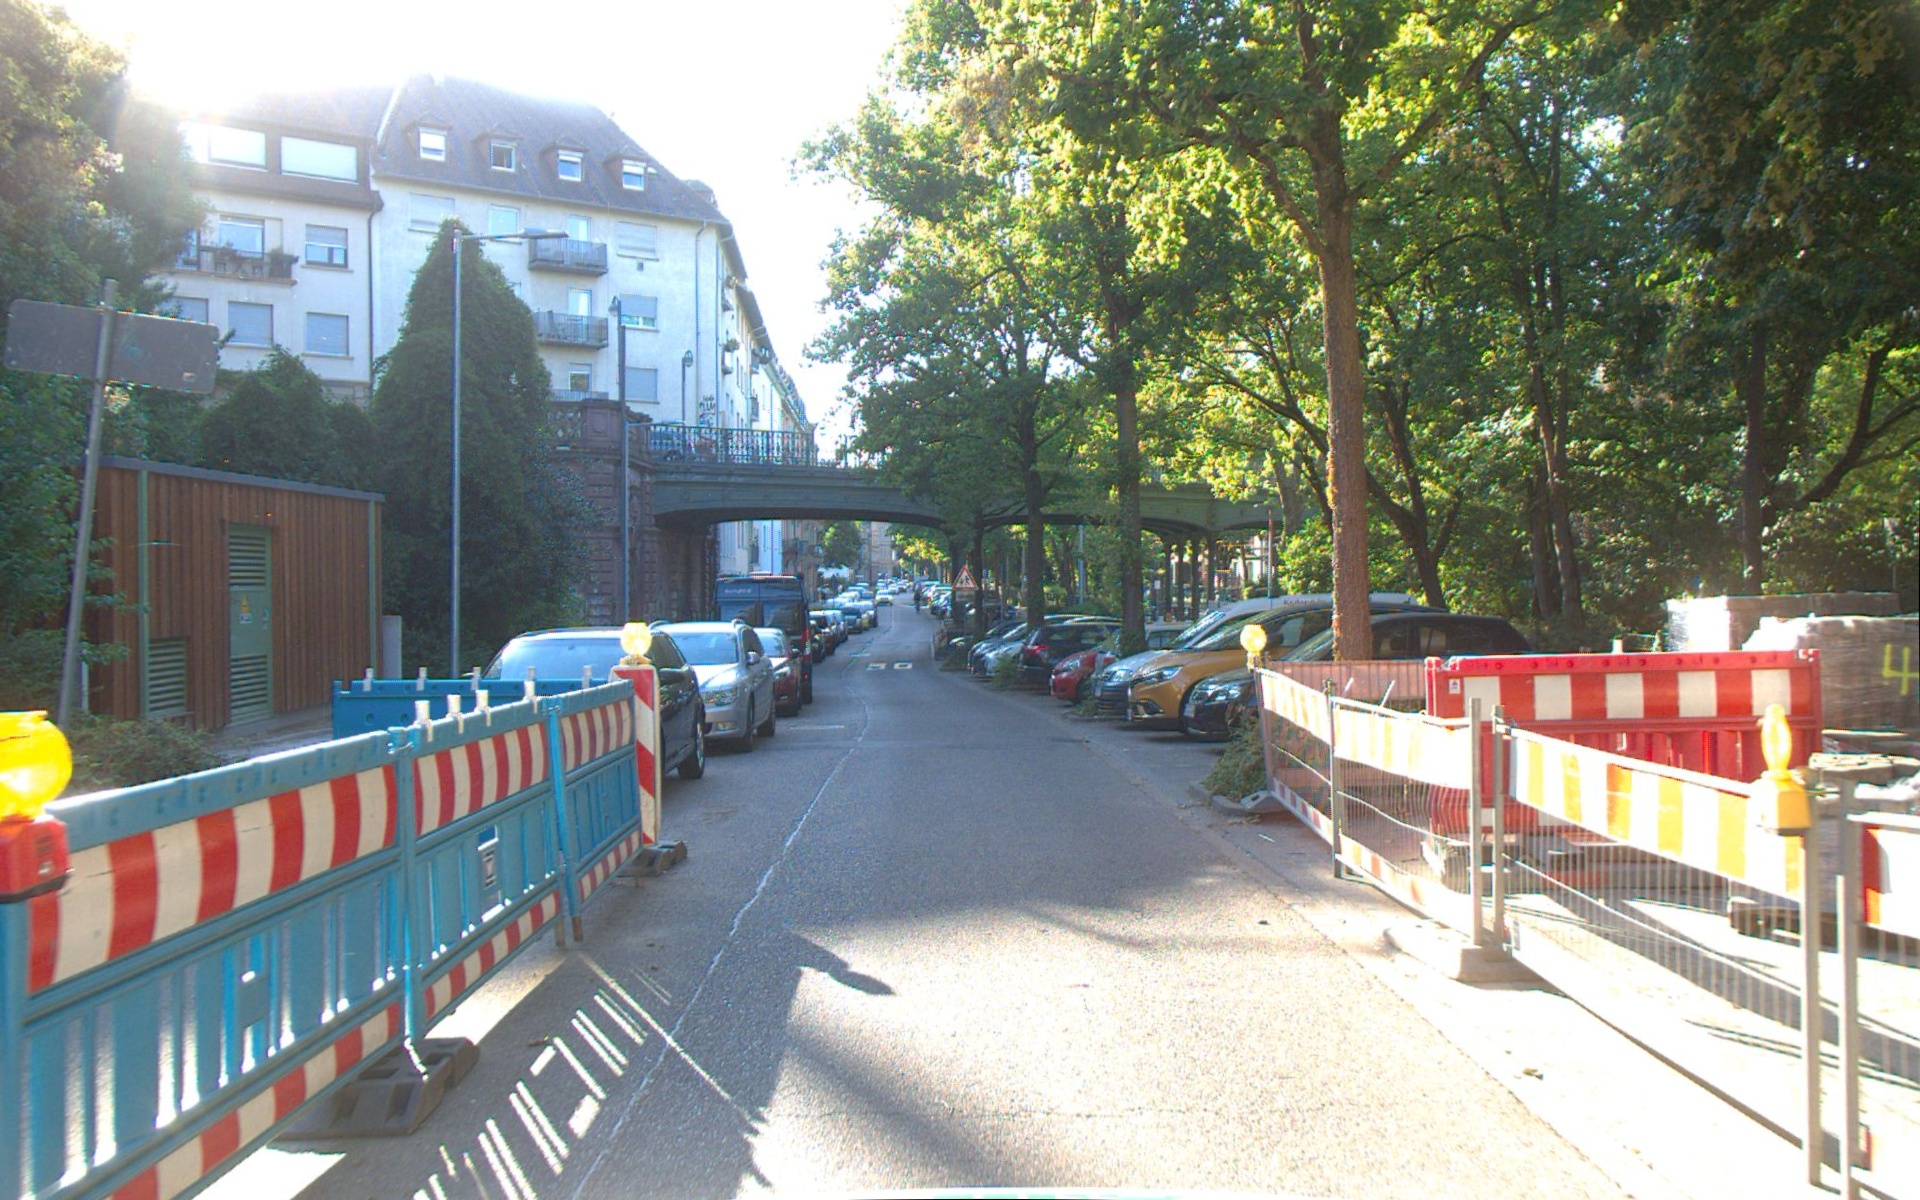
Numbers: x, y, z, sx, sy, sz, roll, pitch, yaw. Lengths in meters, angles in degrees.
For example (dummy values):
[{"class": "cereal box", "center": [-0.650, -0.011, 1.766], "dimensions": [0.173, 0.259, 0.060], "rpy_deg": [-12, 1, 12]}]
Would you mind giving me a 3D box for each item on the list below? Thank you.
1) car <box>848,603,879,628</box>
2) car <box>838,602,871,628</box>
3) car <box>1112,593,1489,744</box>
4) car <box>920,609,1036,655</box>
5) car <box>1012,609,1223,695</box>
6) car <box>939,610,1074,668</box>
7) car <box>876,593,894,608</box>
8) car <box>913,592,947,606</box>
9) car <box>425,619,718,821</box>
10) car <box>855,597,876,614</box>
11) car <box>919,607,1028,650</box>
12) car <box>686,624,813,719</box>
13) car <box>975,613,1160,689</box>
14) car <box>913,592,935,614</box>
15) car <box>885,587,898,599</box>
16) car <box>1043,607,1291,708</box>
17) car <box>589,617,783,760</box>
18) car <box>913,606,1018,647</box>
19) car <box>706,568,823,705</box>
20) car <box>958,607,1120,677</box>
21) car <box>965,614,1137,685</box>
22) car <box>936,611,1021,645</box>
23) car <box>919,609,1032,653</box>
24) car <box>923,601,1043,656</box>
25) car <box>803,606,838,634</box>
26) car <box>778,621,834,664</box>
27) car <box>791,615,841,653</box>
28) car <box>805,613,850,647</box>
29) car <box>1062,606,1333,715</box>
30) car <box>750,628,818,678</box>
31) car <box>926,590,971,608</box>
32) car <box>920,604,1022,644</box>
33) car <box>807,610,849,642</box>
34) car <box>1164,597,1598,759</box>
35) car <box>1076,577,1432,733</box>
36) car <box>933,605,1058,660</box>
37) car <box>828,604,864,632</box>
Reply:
[{"class": "car", "center": [-5.834, 0.963, 100.553], "dimensions": [1.776, 1.422, 3.973], "rpy_deg": [-2, -1, -2]}, {"class": "car", "center": [-6.079, 0.871, 95.757], "dimensions": [1.776, 1.422, 3.973], "rpy_deg": [-2, -1, -2]}, {"class": "car", "center": [4.204, 0.857, 20.840], "dimensions": [4.300, 1.732, 1.915], "rpy_deg": [1, -2, -4]}, {"class": "car", "center": [0.673, 1.223, 63.202], "dimensions": [4.300, 1.638, 1.779], "rpy_deg": [1, -2, -4]}, {"class": "car", "center": [3.366, 1.139, 35.894], "dimensions": [4.300, 1.732, 1.915], "rpy_deg": [1, -2, -4]}, {"class": "car", "center": [1.508, 1.292, 54.618], "dimensions": [4.300, 1.816, 1.915], "rpy_deg": [1, -2, -4]}, {"class": "car", "center": [-7.619, 0.083, 167.413], "dimensions": [1.776, 1.422, 3.973], "rpy_deg": [-2, -1, -2]}, {"class": "car", "center": [-3.858, -0.086, 212.624], "dimensions": [4.298, 1.638, 1.780], "rpy_deg": [1, -2, -2]}, {"class": "car", "center": [-3.171, 0.926, 14.288], "dimensions": [1.681, 1.442, 4.104], "rpy_deg": [-2, -1, -2]}, {"class": "car", "center": [-8.611, 0.504, 150.790], "dimensions": [1.776, 1.422, 3.973], "rpy_deg": [-2, -1, -2]}, {"class": "car", "center": [0.511, 1.180, 67.241], "dimensions": [4.300, 1.638, 1.779], "rpy_deg": [1, -2, -4]}, {"class": "car", "center": [-3.567, 1.190, 28.693], "dimensions": [1.776, 1.478, 4.348], "rpy_deg": [-2, -1, -2]}, {"class": "car", "center": [2.593, 1.248, 40.602], "dimensions": [4.300, 1.732, 1.915], "rpy_deg": [1, -2, -4]}, {"class": "car", "center": [-3.004, 0.286, 137.867], "dimensions": [1.739, 1.638, 4.400], "rpy_deg": [1, -2, -1]}, {"class": "car", "center": [-9.741, -0.975, 234.210], "dimensions": [1.776, 1.422, 4.609], "rpy_deg": [-2, -1, -2]}, {"class": "car", "center": [3.802, 1.073, 30.868], "dimensions": [4.300, 1.732, 1.915], "rpy_deg": [1, -2, -4]}, {"class": "car", "center": [-3.202, 0.983, 20.117], "dimensions": [1.776, 1.465, 4.348], "rpy_deg": [1, 0, -2]}, {"class": "car", "center": [0.200, 1.136, 69.808], "dimensions": [4.300, 1.638, 1.779], "rpy_deg": [1, -2, -4]}, {"class": "car", "center": [-3.911, 0.748, 33.906], "dimensions": [2.007, 2.541, 5.692], "rpy_deg": [1, -1, -4]}, {"class": "car", "center": [2.157, 1.172, 45.888], "dimensions": [4.300, 1.816, 1.915], "rpy_deg": [1, -2, -4]}, {"class": "car", "center": [2.344, 1.302, 43.294], "dimensions": [4.300, 1.732, 1.915], "rpy_deg": [1, -2, -4]}, {"class": "car", "center": [0.938, 1.449, 84.828], "dimensions": [4.298, 1.638, 1.780], "rpy_deg": [1, -2, -2]}, {"class": "car", "center": [0.586, 1.242, 65.275], "dimensions": [4.300, 1.638, 1.779], "rpy_deg": [1, -2, -4]}, {"class": "car", "center": [0.825, 1.073, 61.156], "dimensions": [4.300, 1.894, 1.915], "rpy_deg": [1, -2, -4]}, {"class": "car", "center": [-8.035, 1.189, 95.644], "dimensions": [1.776, 1.527, 3.973], "rpy_deg": [-2, -1, -2]}, {"class": "car", "center": [-5.538, 1.520, 59.741], "dimensions": [1.776, 1.422, 3.973], "rpy_deg": [-2, -1, -2]}, {"class": "car", "center": [-5.702, 1.359, 65.798], "dimensions": [1.776, 1.422, 3.973], "rpy_deg": [-2, -1, -2]}, {"class": "car", "center": [-5.765, 1.311, 72.211], "dimensions": [1.776, 1.422, 3.973], "rpy_deg": [-2, -1, -2]}, {"class": "car", "center": [4.028, 1.043, 28.476], "dimensions": [4.300, 1.732, 1.915], "rpy_deg": [1, -2, -4]}, {"class": "car", "center": [-5.295, 1.580, 50.165], "dimensions": [1.776, 1.422, 3.973], "rpy_deg": [-2, -1, -2]}, {"class": "car", "center": [-1.138, -0.128, 162.096], "dimensions": [4.298, 1.638, 1.780], "rpy_deg": [1, -2, -2]}, {"class": "car", "center": [0.470, 1.048, 71.787], "dimensions": [4.300, 1.638, 1.779], "rpy_deg": [1, -2, -4]}, {"class": "car", "center": [-6.200, 1.254, 78.025], "dimensions": [1.776, 1.422, 3.973], "rpy_deg": [-2, -1, -2]}, {"class": "car", "center": [4.588, 0.858, 18.400], "dimensions": [4.302, 1.634, 1.914], "rpy_deg": [1, -2, -5]}, {"class": "car", "center": [4.110, 0.785, 23.523], "dimensions": [4.649, 2.032, 1.914], "rpy_deg": [1, -2, -5]}, {"class": "car", "center": [1.224, 1.173, 59.089], "dimensions": [4.300, 1.816, 1.915], "rpy_deg": [1, -2, -4]}, {"class": "car", "center": [-6.229, 0.991, 90.753], "dimensions": [1.776, 1.422, 3.973], "rpy_deg": [-2, -1, -2]}]
